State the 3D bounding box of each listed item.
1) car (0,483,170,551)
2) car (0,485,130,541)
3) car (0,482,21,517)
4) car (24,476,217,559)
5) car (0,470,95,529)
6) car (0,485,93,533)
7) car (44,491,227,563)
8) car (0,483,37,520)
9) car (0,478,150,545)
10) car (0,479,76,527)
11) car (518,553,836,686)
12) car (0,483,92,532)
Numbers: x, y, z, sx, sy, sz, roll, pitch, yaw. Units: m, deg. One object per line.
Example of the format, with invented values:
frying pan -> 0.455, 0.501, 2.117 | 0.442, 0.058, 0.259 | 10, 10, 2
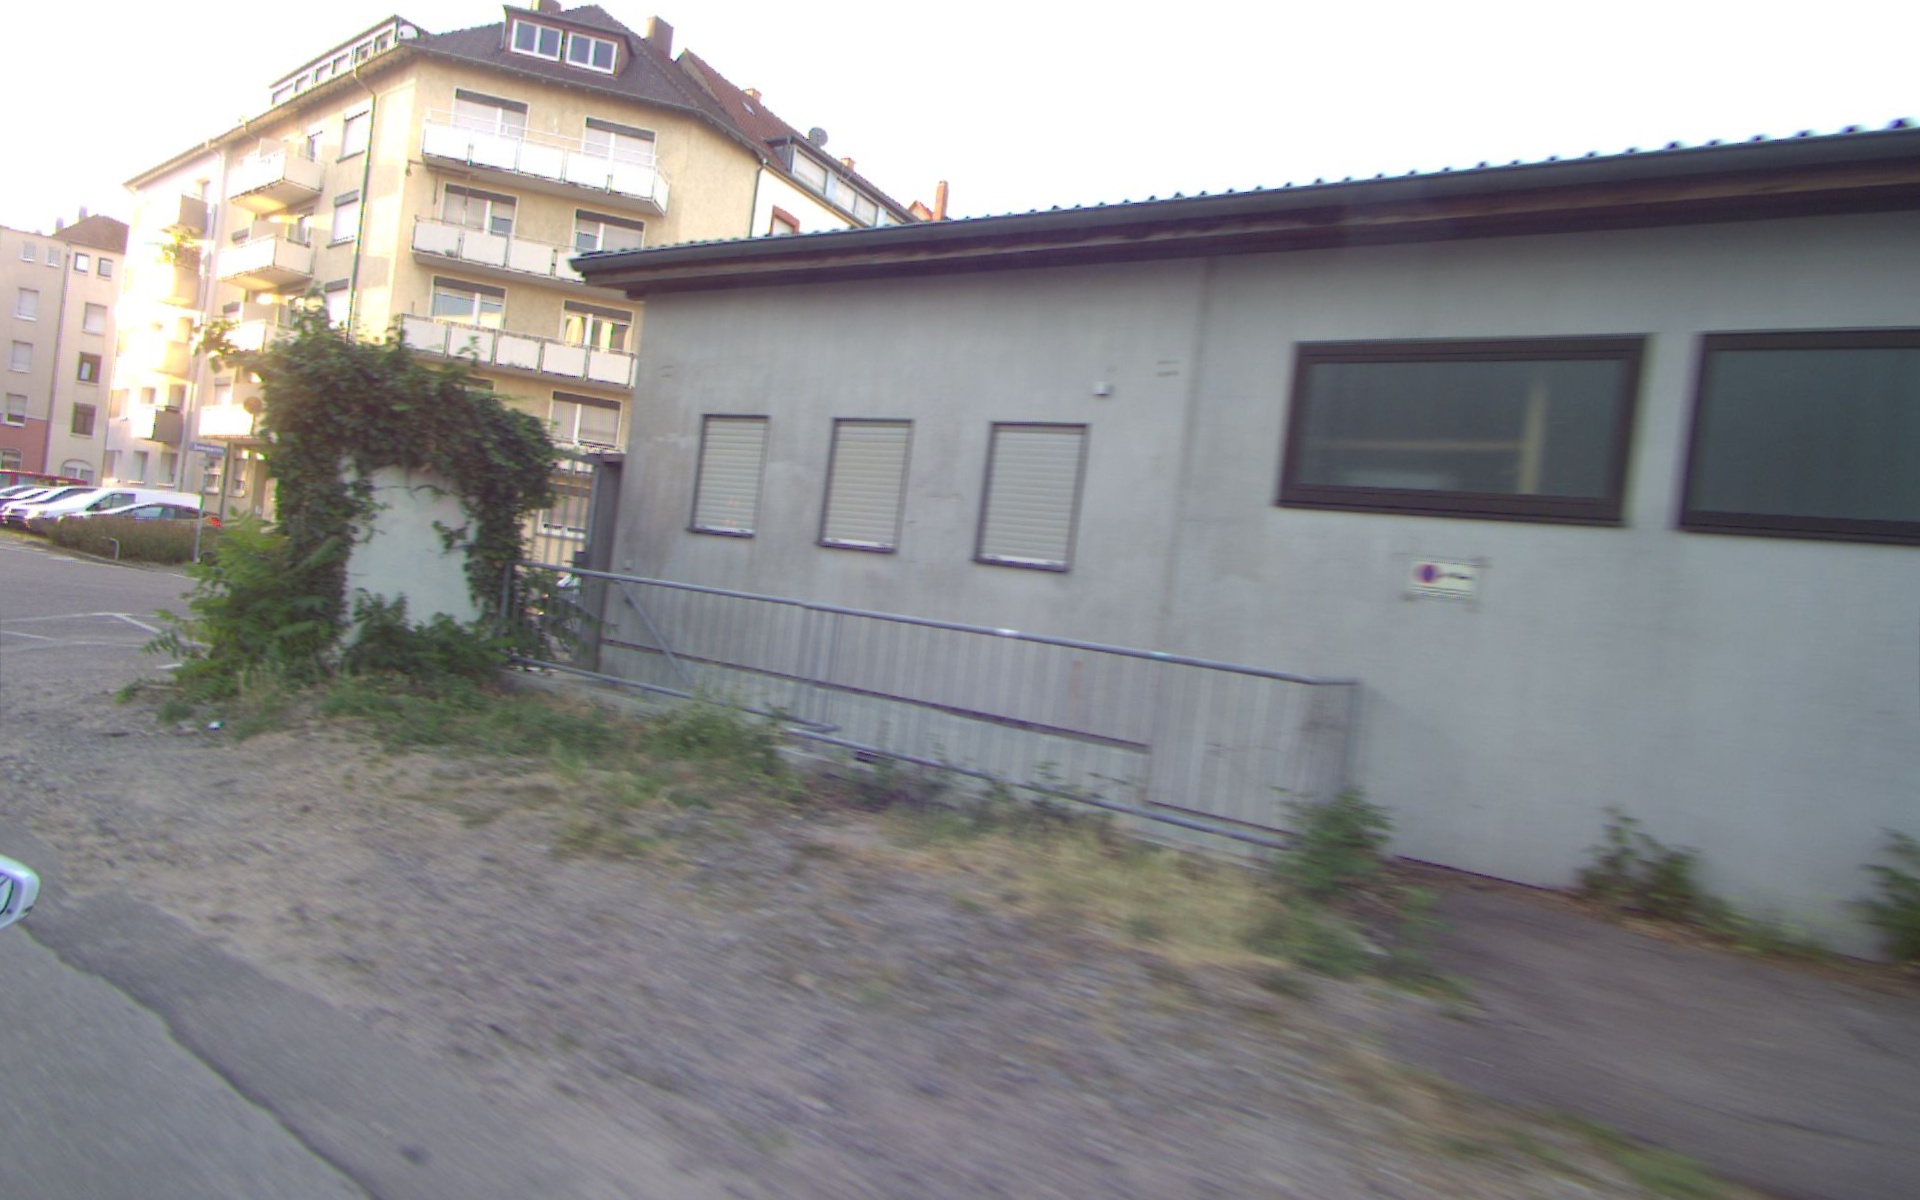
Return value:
car -> -28.234, -2.653, 32.467 | 1.680, 1.541, 3.955 | 7, 0, 37
car -> -31.807, -3.068, 34.940 | 1.630, 1.468, 4.306 | 7, 1, 37
car -> -44.071, -4.648, 44.218 | 1.609, 1.446, 3.810 | 7, 1, 36
car -> -26.246, -2.533, 31.586 | 1.715, 1.882, 4.280 | 7, -1, 37
car -> -37.707, -4.118, 39.936 | 2.027, 1.933, 4.720 | 7, 1, 36
car -> -34.340, -3.404, 36.631 | 1.611, 1.434, 3.874 | 7, 1, 35
car -> -24.626, -2.161, 30.160 | 1.715, 1.510, 3.872 | 7, -1, 37
car -> -42.046, -4.393, 42.812 | 1.609, 1.446, 3.810 | 7, 1, 36
car -> -29.935, -2.952, 33.880 | 1.630, 1.717, 3.788 | 7, 1, 37
car -> -39.880, -4.177, 41.837 | 1.790, 1.658, 4.322 | 7, 1, 36
car -> -4.514, 0.297, 15.976 | 4.643, 1.549, 1.832 | 6, -1, 24
car -> -35.882, -3.612, 38.202 | 1.611, 1.489, 4.143 | 7, 1, 36
